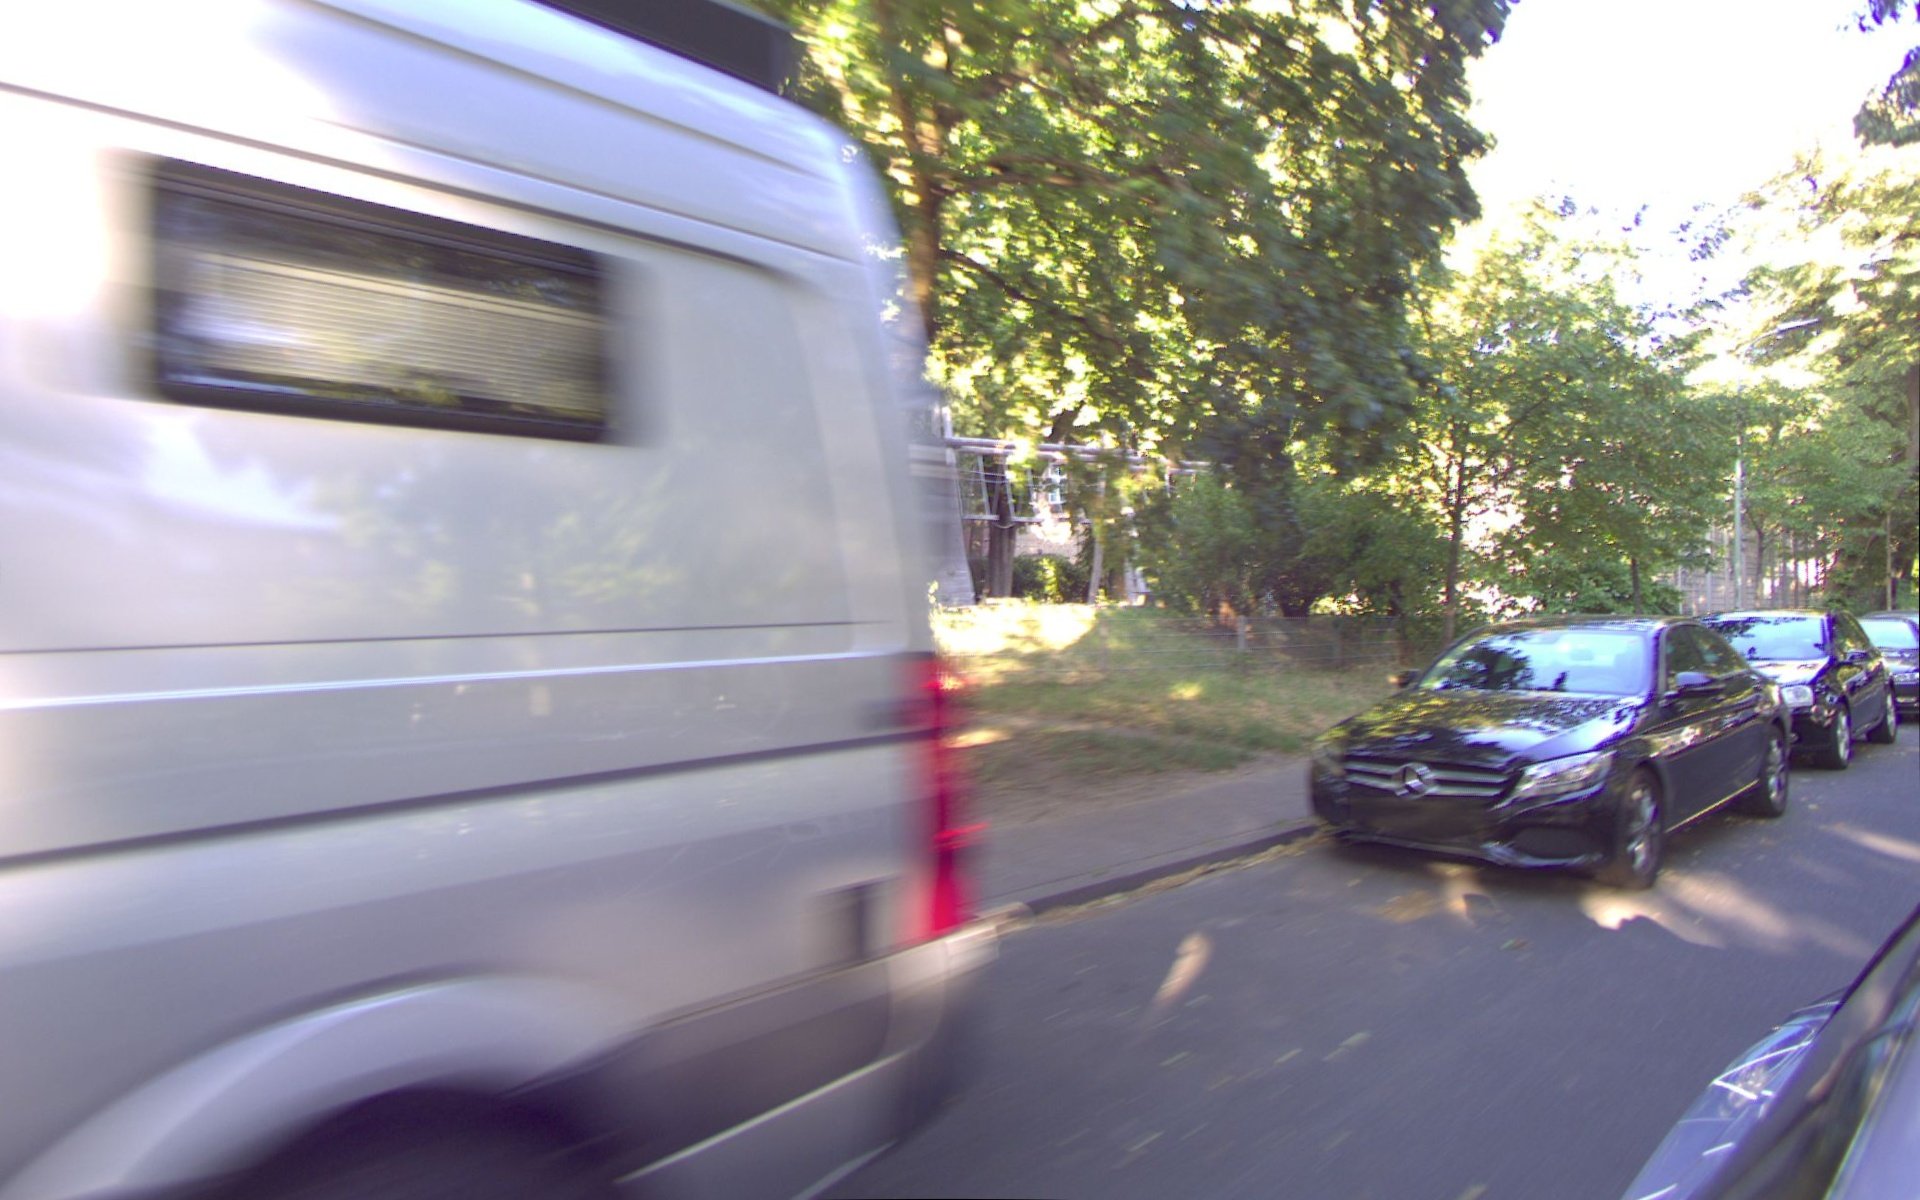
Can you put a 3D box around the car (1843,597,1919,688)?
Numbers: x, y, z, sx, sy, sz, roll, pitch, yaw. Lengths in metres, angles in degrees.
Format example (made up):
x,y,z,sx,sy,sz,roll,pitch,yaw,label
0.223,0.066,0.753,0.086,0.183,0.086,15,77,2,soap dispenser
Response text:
x,y,z,sx,sy,sz,roll,pitch,yaw,label
16.963,0.678,17.675,4.577,1.442,1.683,0,-1,-41,car

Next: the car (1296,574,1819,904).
x,y,z,sx,sy,sz,roll,pitch,yaw,label
4.229,0.655,6.825,4.410,1.545,1.683,0,-1,-40,car

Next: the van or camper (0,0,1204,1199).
x,y,z,sx,sy,sz,roll,pitch,yaw,label
-2.399,0.042,1.202,5.737,2.798,2.089,0,-1,-37,van or camper

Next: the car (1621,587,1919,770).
x,y,z,sx,sy,sz,roll,pitch,yaw,label
8.582,0.664,10.570,4.211,1.545,1.683,0,-1,-40,car

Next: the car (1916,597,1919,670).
x,y,z,sx,sy,sz,roll,pitch,yaw,label
21.349,0.678,21.341,1.680,1.472,4.011,-1,-1,44,car

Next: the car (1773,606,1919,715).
x,y,z,sx,sy,sz,roll,pitch,yaw,label
12.719,0.737,13.989,4.214,1.299,1.682,0,-1,-42,car
